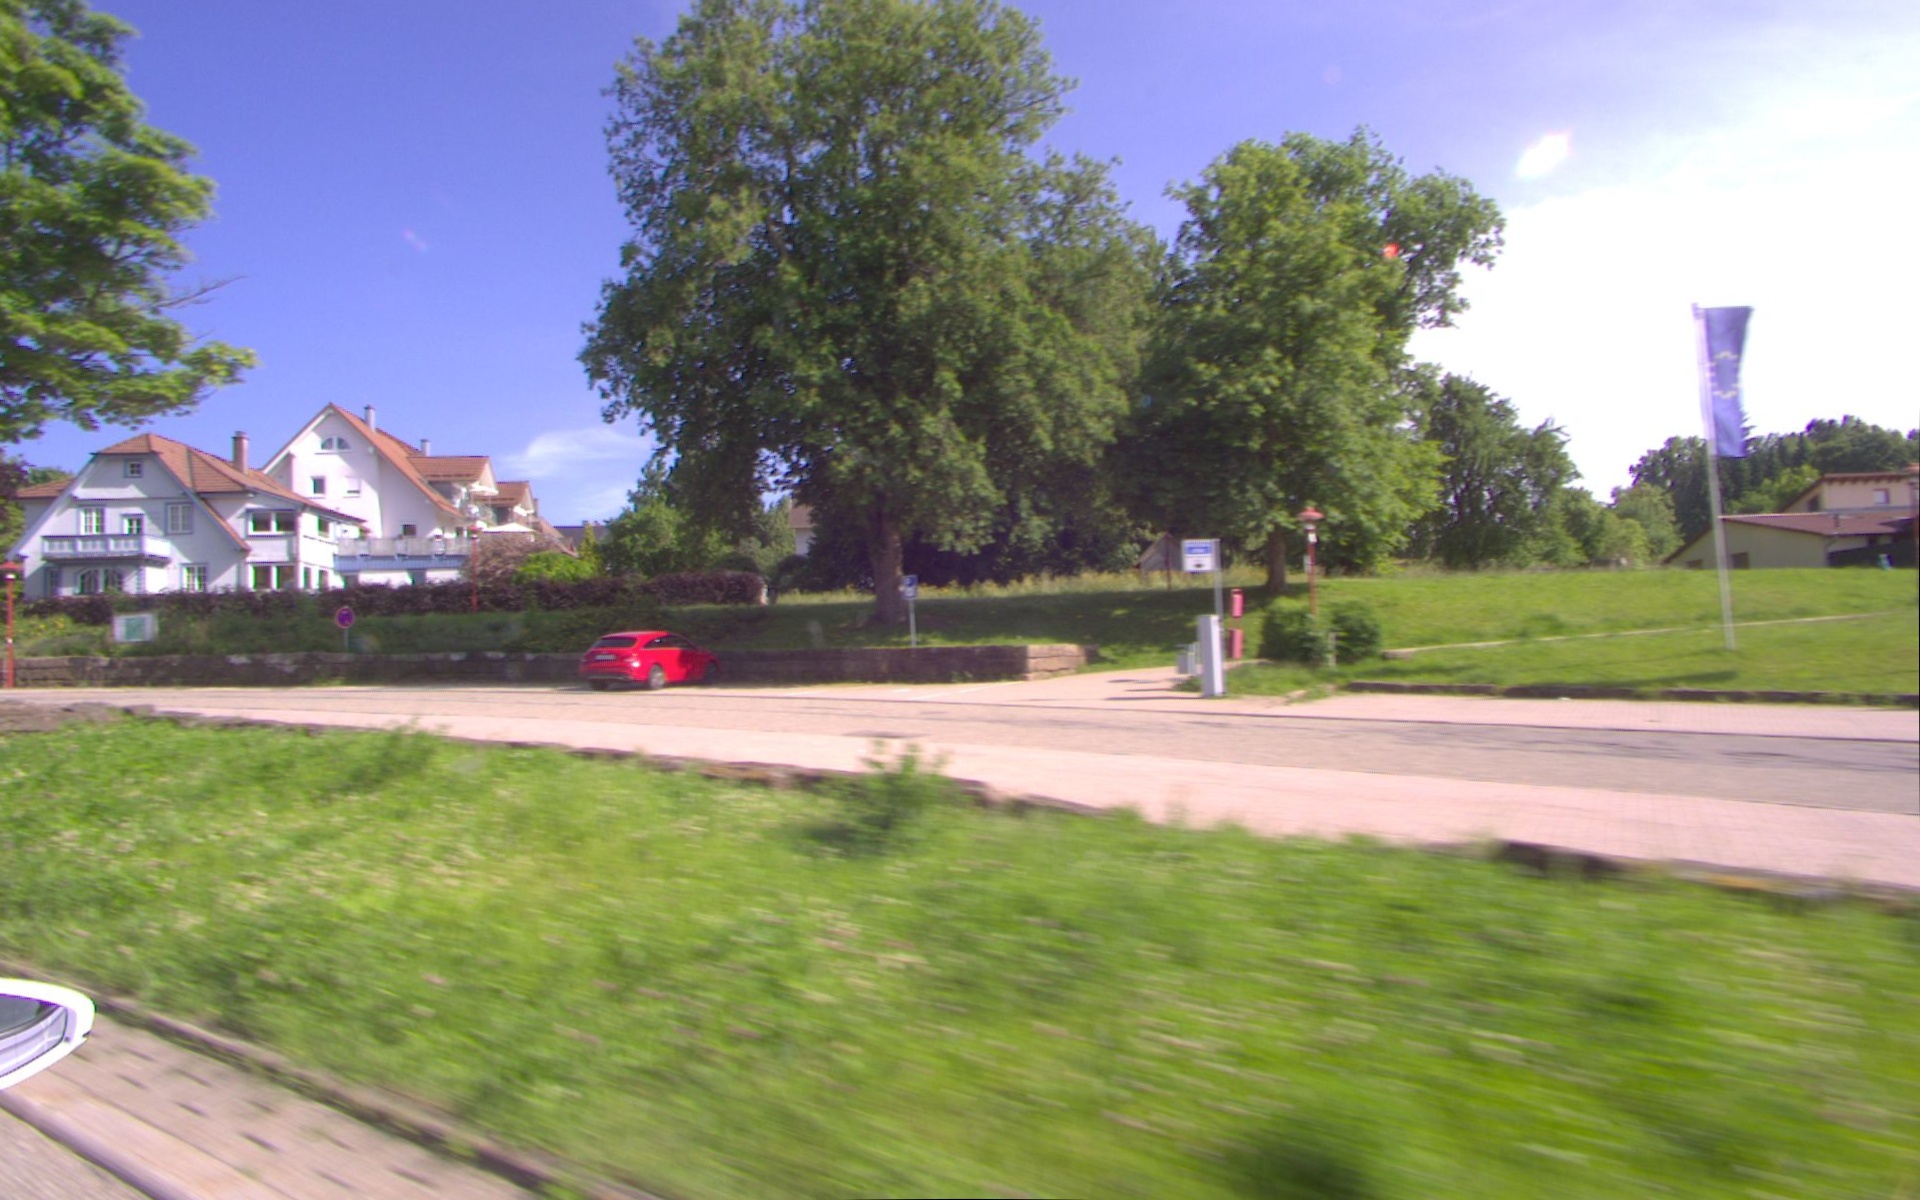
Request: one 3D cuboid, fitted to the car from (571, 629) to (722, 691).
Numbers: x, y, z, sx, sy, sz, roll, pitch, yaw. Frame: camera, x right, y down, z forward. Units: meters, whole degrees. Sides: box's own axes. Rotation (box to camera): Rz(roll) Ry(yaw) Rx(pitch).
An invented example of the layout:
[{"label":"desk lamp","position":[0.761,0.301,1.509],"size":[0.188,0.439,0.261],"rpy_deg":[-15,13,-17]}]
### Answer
[{"label":"car","position":[-7.914,1.484,25.711],"size":[1.671,1.447,4.263],"rpy_deg":[-2,-2,15]}]
